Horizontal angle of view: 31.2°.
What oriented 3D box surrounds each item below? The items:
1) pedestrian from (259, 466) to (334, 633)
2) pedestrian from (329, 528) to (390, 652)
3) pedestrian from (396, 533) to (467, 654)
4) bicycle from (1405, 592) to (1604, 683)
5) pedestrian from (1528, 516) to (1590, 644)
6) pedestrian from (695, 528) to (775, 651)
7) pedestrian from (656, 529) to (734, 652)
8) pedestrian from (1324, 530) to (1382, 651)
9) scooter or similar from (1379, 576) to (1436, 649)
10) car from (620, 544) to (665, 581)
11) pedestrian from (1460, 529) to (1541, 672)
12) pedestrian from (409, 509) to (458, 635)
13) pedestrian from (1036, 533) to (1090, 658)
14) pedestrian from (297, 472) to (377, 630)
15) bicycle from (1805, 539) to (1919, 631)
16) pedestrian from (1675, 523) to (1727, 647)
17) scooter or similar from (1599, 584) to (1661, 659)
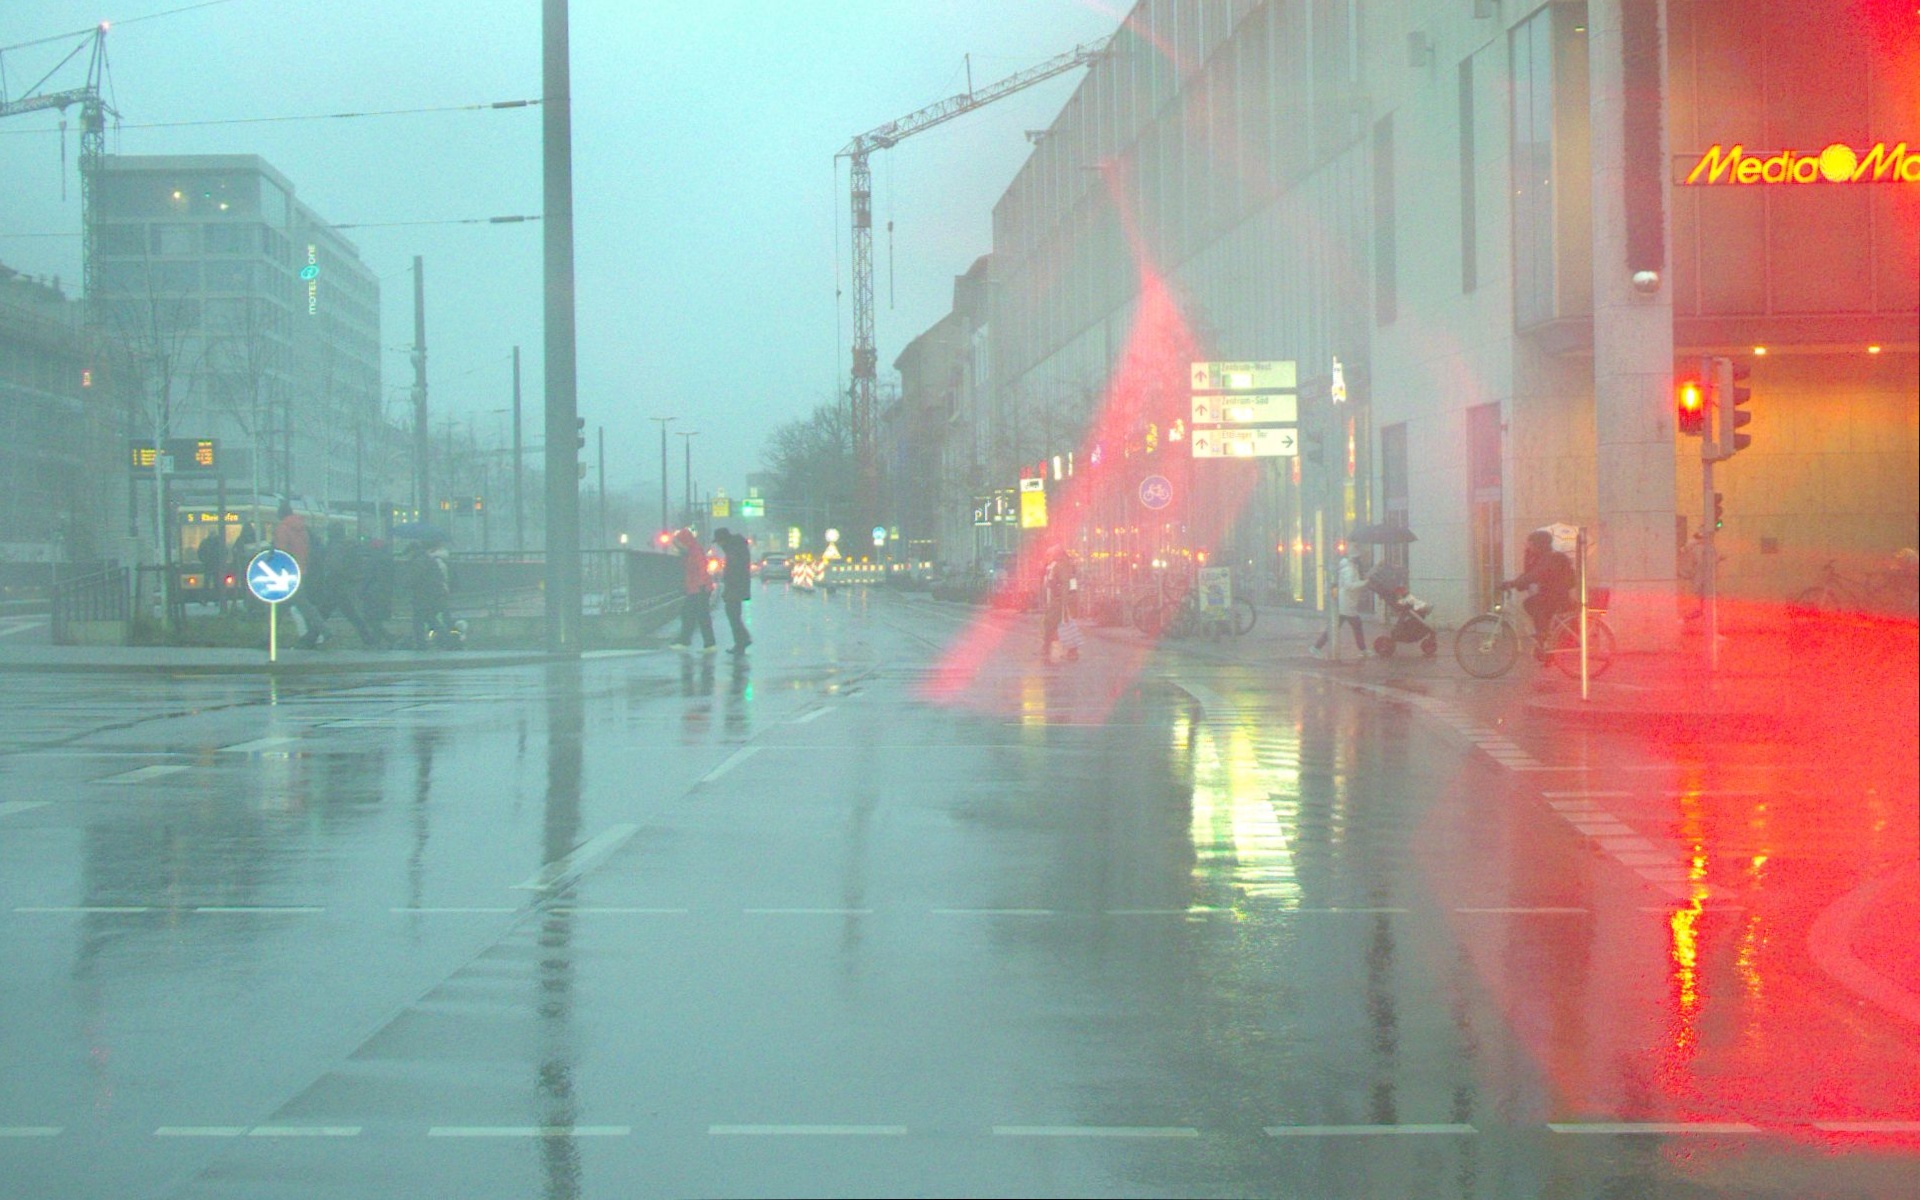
[{"bbox_3d":[-8.374,-0.635,43.391,0.686,2.080,0.613,-1,1,-40],"label":"pedestrian"},{"bbox_3d":[-7.975,-0.136,45.673,0.706,1.613,0.613,-1,1,-3],"label":"pedestrian"},{"bbox_3d":[-7.084,-0.088,46.105,0.809,1.602,0.745,-1,1,-1],"label":"pedestrian"},{"bbox_3d":[6.044,0.413,38.235,2.128,0.988,0.541,1,0,3],"label":"bicycle"},{"bbox_3d":[8.320,-0.281,47.763,0.702,1.754,0.667,-1,1,-1],"label":"pedestrian"},{"bbox_3d":[-3.118,-0.150,47.677,0.844,1.682,0.676,-1,1,27],"label":"pedestrian"},{"bbox_3d":[-3.632,-0.133,47.141,0.832,1.673,0.618,-1,1,25],"label":"pedestrian"},{"bbox_3d":[5.451,-0.137,47.676,0.741,1.661,0.400,-1,1,12],"label":"pedestrian"},{"bbox_3d":[6.189,0.170,47.529,0.741,0.990,0.400,-1,1,12],"label":"scooter or similar"},{"bbox_3d":[-15.722,-1.845,170.358,1.888,1.777,3.714,1,0,-1],"label":"car"},{"bbox_3d":[6.008,0.003,38.234,0.814,1.564,0.536,-1,1,3],"label":"pedestrian"},{"bbox_3d":[-7.374,-0.396,48.204,0.619,1.740,0.613,-1,1,-6],"label":"pedestrian"},{"bbox_3d":[1.451,-0.069,48.627,0.703,1.754,0.652,-1,1,-1],"label":"pedestrian"},{"bbox_3d":[-8.044,-0.634,44.381,0.775,2.007,0.613,-1,1,-38],"label":"pedestrian"},{"bbox_3d":[13.799,-0.231,50.884,2.424,1.325,0.635,-1,1,-5],"label":"bicycle"},{"bbox_3d":[10.631,-0.219,49.342,0.617,1.754,0.482,-1,1,-1],"label":"pedestrian"},{"bbox_3d":[9.050,0.288,46.452,0.741,0.990,0.400,-1,1,1],"label":"scooter or similar"}]
